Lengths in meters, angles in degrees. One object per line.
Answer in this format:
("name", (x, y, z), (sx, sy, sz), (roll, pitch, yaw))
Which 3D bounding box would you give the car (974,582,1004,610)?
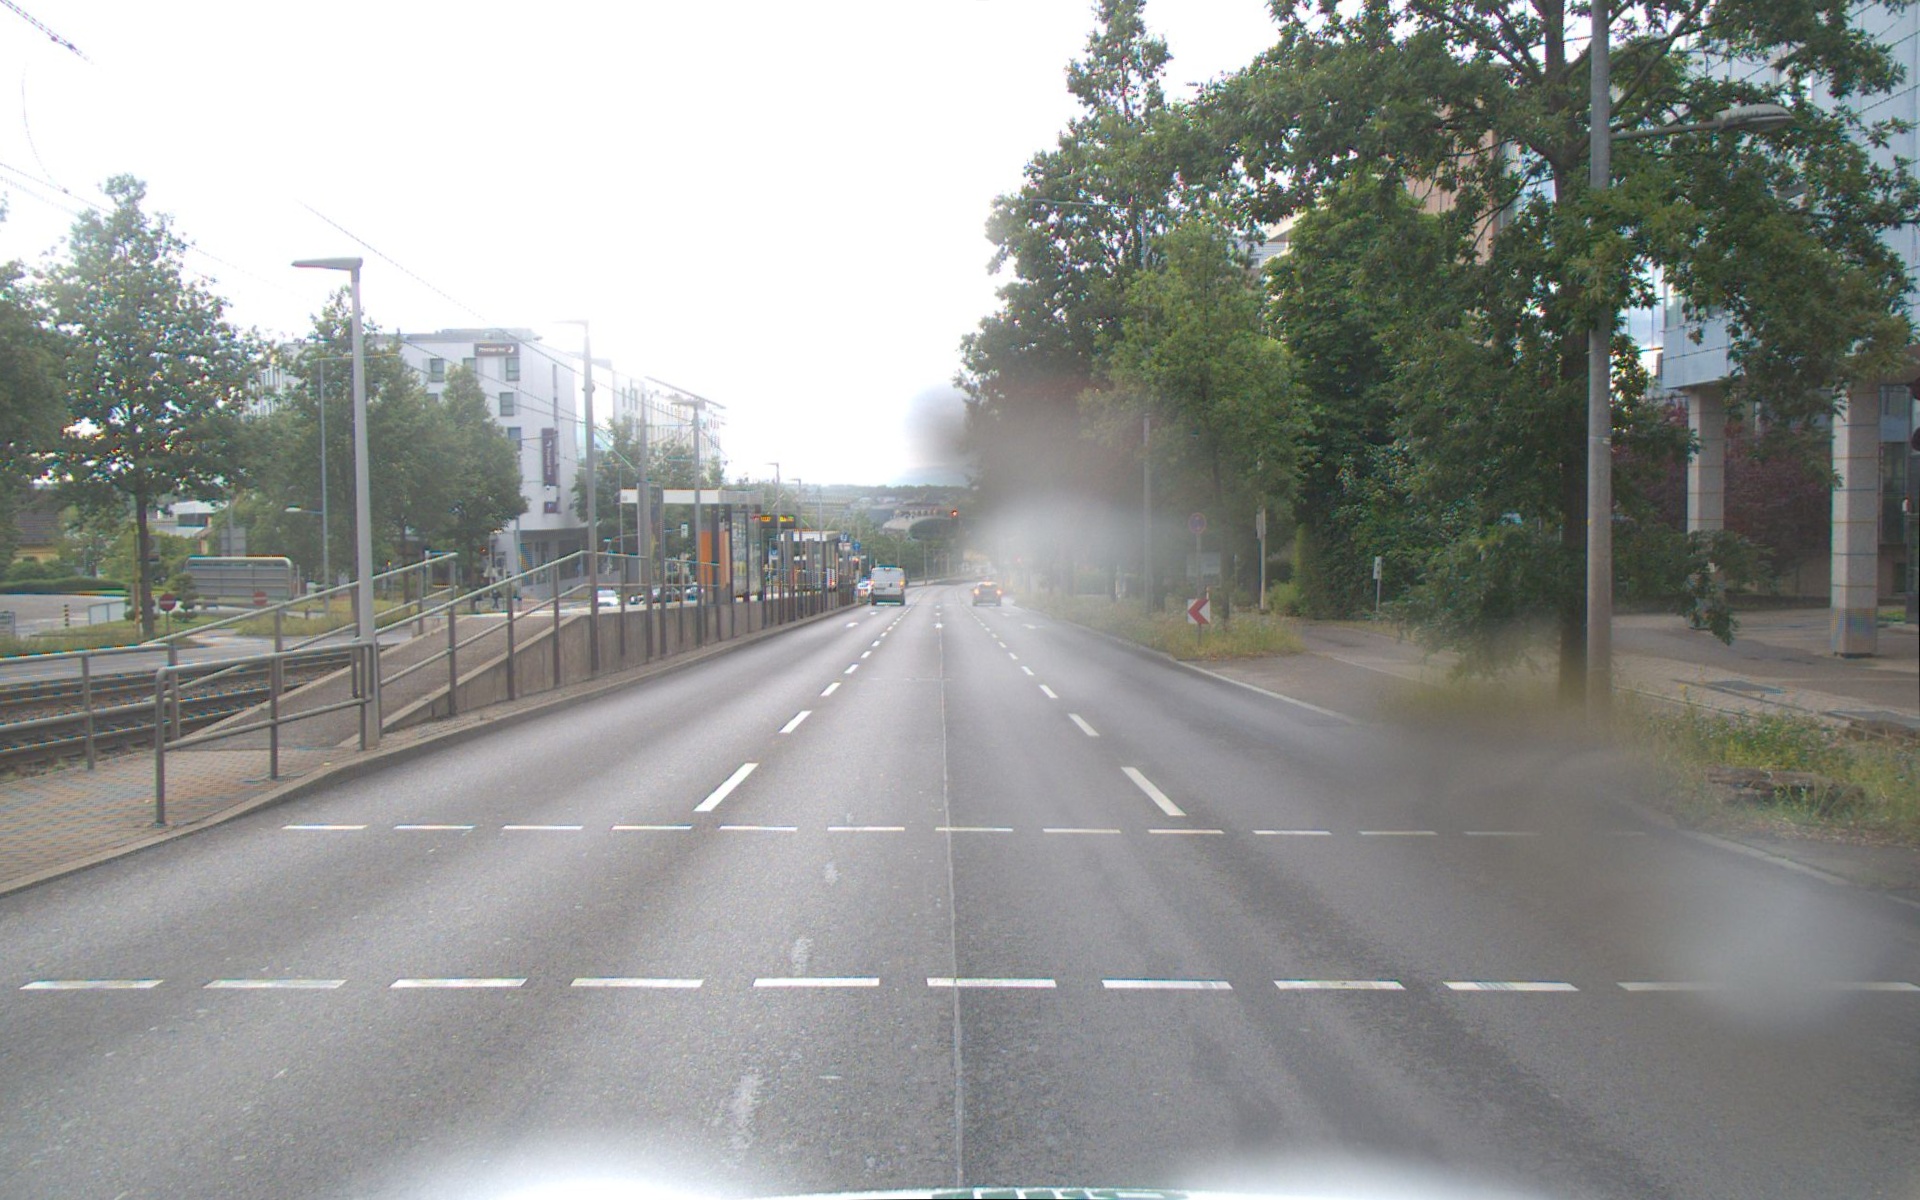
("car", (1.797, -0.282, 102.812), (1.738, 1.720, 3.845), (0, 1, -1))

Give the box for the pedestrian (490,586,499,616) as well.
("pedestrian", (-30.268, 0.076, 107.598), (0.465, 1.954, 0.490), (0, 0, -1))

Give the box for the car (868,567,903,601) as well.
("car", (-4.579, -0.987, 102.331), (2.050, 2.089, 4.605), (0, 1, -1))

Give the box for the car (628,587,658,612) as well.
("car", (-19.789, -0.053, 103.120), (1.622, 1.461, 3.866), (-2, 1, -14))

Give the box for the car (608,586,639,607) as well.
("car", (-22.799, -0.266, 112.128), (1.536, 1.402, 3.517), (0, 1, -3))

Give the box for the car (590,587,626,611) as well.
("car", (-22.576, -0.062, 106.151), (1.618, 1.461, 3.877), (-2, 1, -3))

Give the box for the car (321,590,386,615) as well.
("car", (-34.989, 0.137, 95.387), (3.297, 1.411, 1.434), (0, 1, 16))
